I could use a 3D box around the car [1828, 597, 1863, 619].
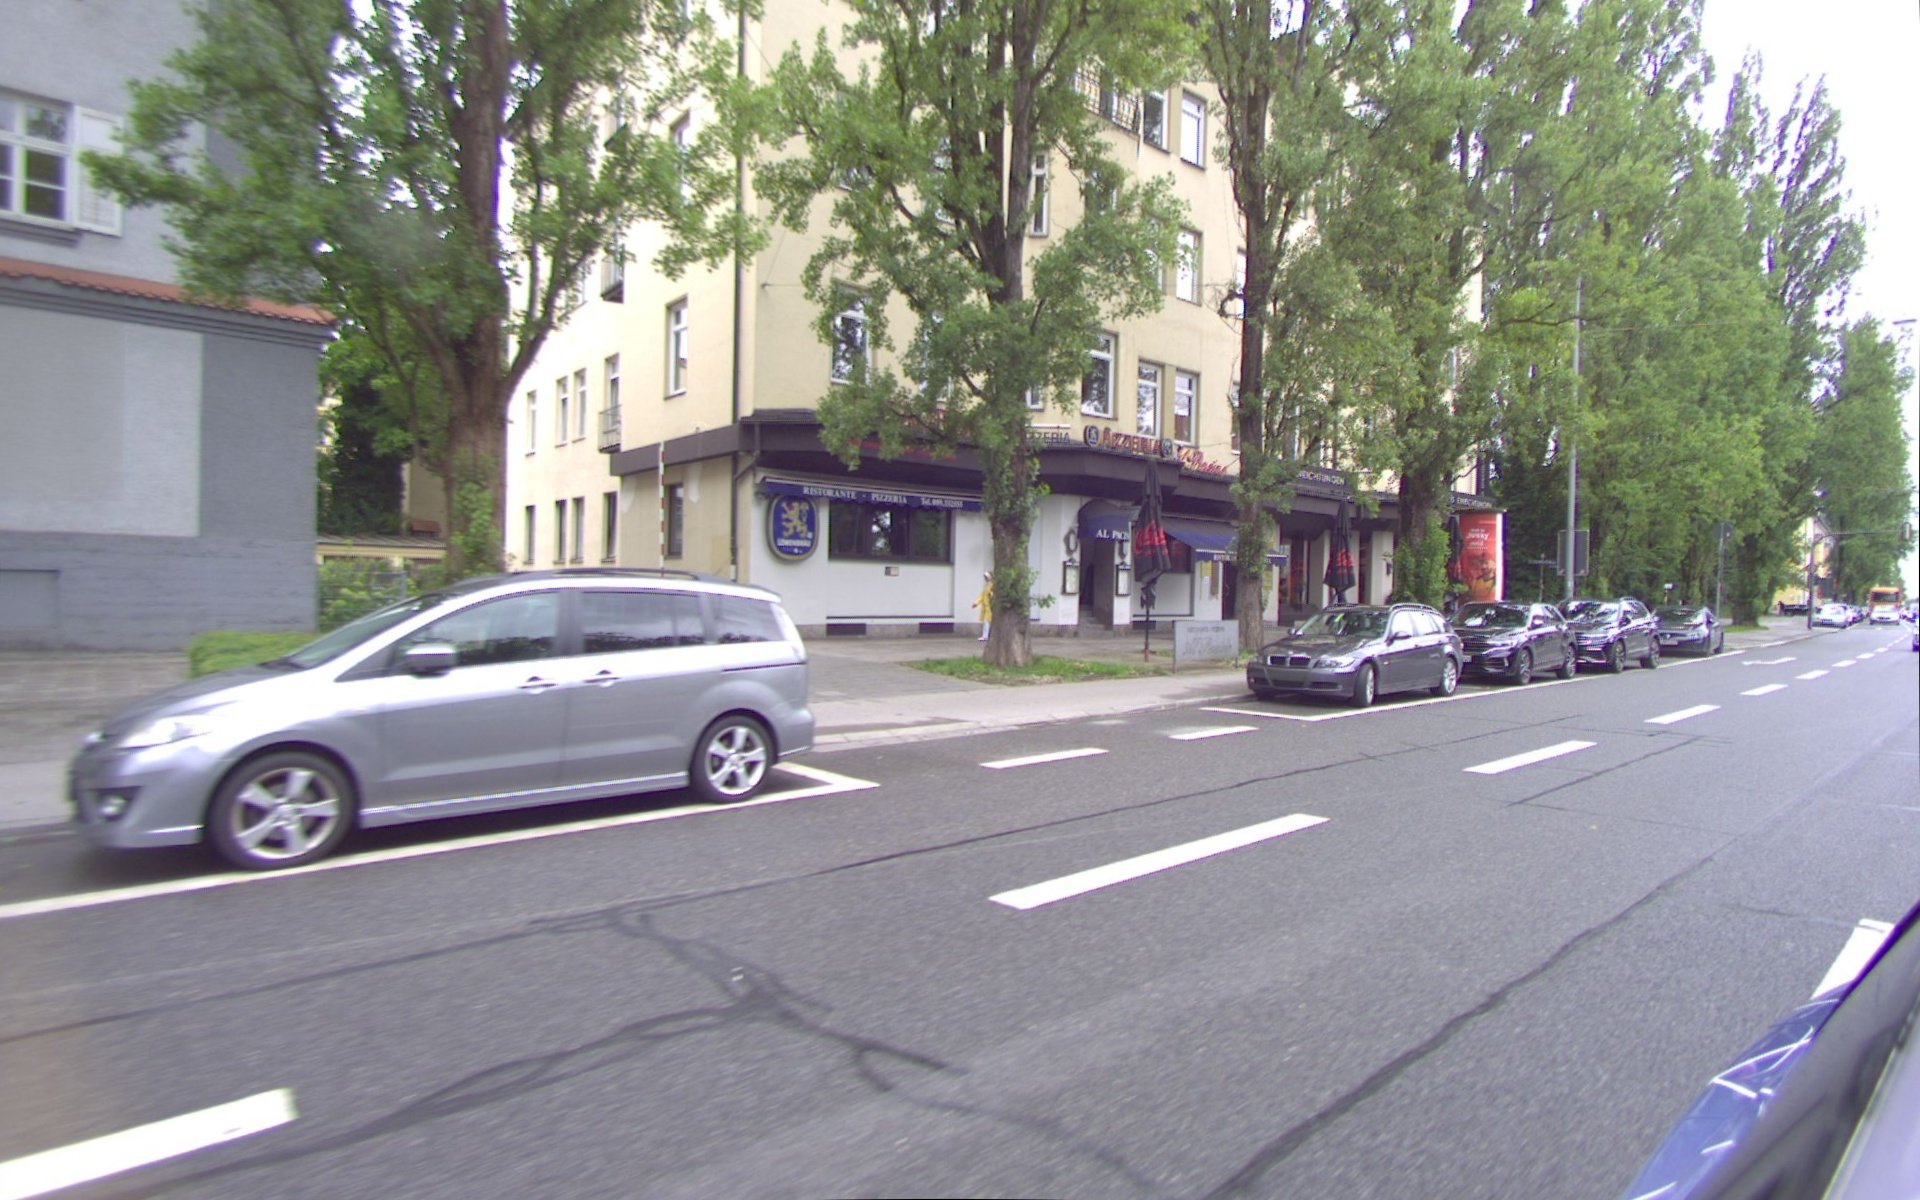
[{"bbox_3d":[64.627,0.569,73.848,1.781,1.504,4.074,2,1,44],"label":"car"}]

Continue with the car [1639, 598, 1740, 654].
[{"bbox_3d":[21.091,0.691,29.210,1.800,1.484,3.936,1,1,45],"label":"car"}]

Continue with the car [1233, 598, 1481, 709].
[{"bbox_3d":[6.159,0.703,15.459,4.307,1.416,1.802,0,1,-42],"label":"car"}]

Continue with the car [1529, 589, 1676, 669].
[{"bbox_3d":[14.698,0.597,23.047,4.394,1.632,1.724,0,1,-42],"label":"car"}]

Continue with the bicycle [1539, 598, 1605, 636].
[{"bbox_3d":[21.176,0.574,35.036,0.488,1.200,1.884,1,1,-44],"label":"bicycle"}]

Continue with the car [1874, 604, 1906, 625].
[{"bbox_3d":[73.936,1.136,80.477,1.781,1.504,4.074,2,1,44],"label":"car"}]

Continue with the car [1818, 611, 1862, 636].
[{"bbox_3d":[57.182,1.509,65.729,4.280,1.504,1.783,0,1,-43],"label":"car"}]

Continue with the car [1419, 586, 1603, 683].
[{"bbox_3d":[10.664,0.591,19.471,4.231,1.632,1.802,0,1,-42],"label":"car"}]

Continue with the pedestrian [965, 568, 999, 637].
[{"bbox_3d":[0.517,0.048,23.628,0.487,1.582,0.574,3,-1,-41],"label":"pedestrian"}]

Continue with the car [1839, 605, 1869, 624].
[{"bbox_3d":[76.621,1.258,86.714,1.781,1.504,4.074,2,1,44],"label":"car"}]

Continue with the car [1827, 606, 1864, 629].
[{"bbox_3d":[61.528,1.185,70.316,1.781,1.504,4.192,2,1,44],"label":"car"}]

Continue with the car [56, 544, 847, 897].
[{"bbox_3d":[-3.115,0.531,6.857,4.469,1.632,1.802,0,1,-42],"label":"car"}]
